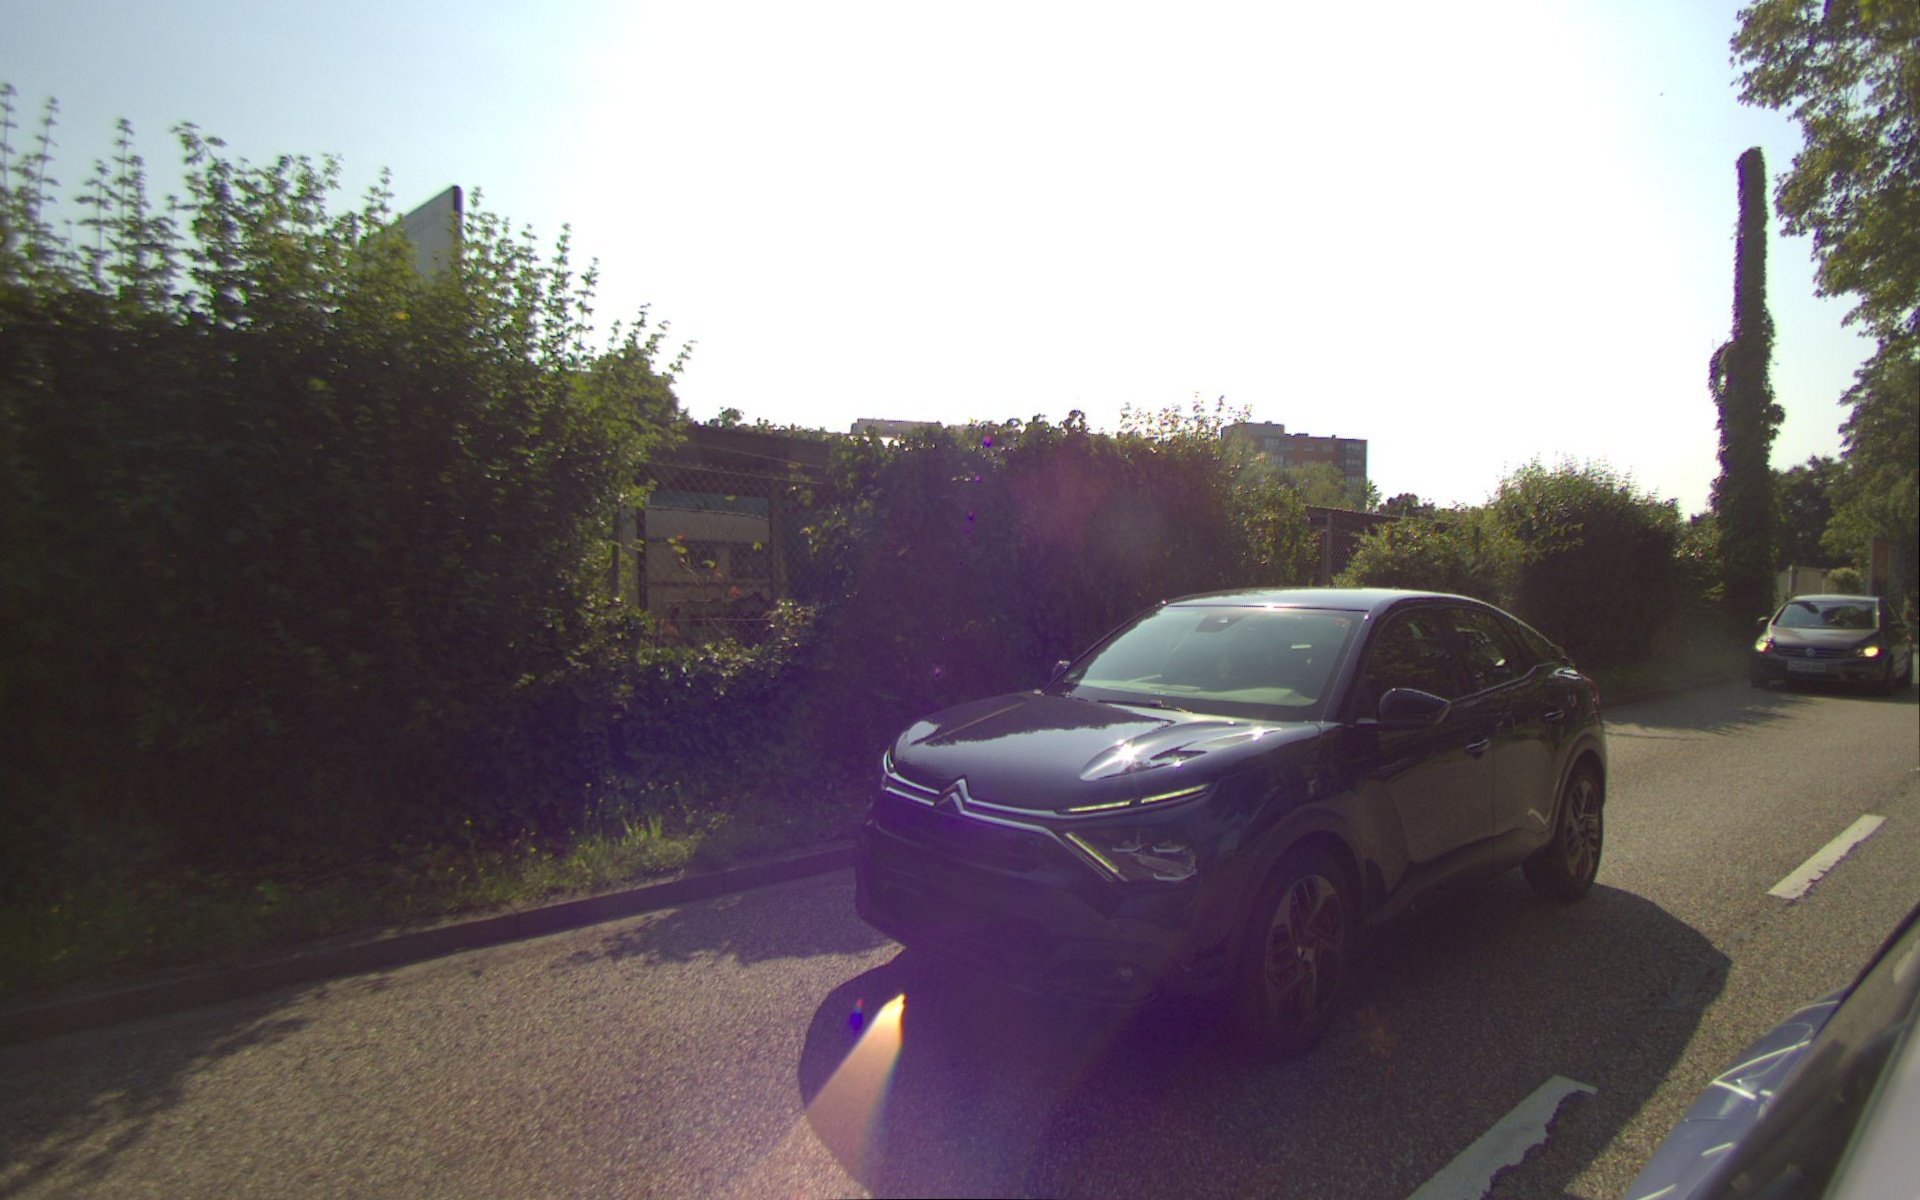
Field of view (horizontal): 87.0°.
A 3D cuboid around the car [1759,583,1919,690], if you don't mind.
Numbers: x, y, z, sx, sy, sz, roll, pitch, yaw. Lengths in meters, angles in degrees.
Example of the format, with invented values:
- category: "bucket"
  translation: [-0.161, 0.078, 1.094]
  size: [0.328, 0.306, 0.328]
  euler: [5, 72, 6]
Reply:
- category: "car"
  translation: [14.928, 0.514, 16.995]
  size: [3.831, 1.576, 1.648]
  euler: [-1, 2, -41]

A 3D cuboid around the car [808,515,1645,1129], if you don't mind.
- category: "car"
  translation: [1.526, 0.525, 4.641]
  size: [4.181, 1.608, 1.648]
  euler: [-1, 2, -41]

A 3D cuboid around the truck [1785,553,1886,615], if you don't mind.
- category: "truck"
  translation: [34.960, -0.641, 40.334]
  size: [6.789, 2.261, 1.919]
  euler: [-1, 1, -39]
